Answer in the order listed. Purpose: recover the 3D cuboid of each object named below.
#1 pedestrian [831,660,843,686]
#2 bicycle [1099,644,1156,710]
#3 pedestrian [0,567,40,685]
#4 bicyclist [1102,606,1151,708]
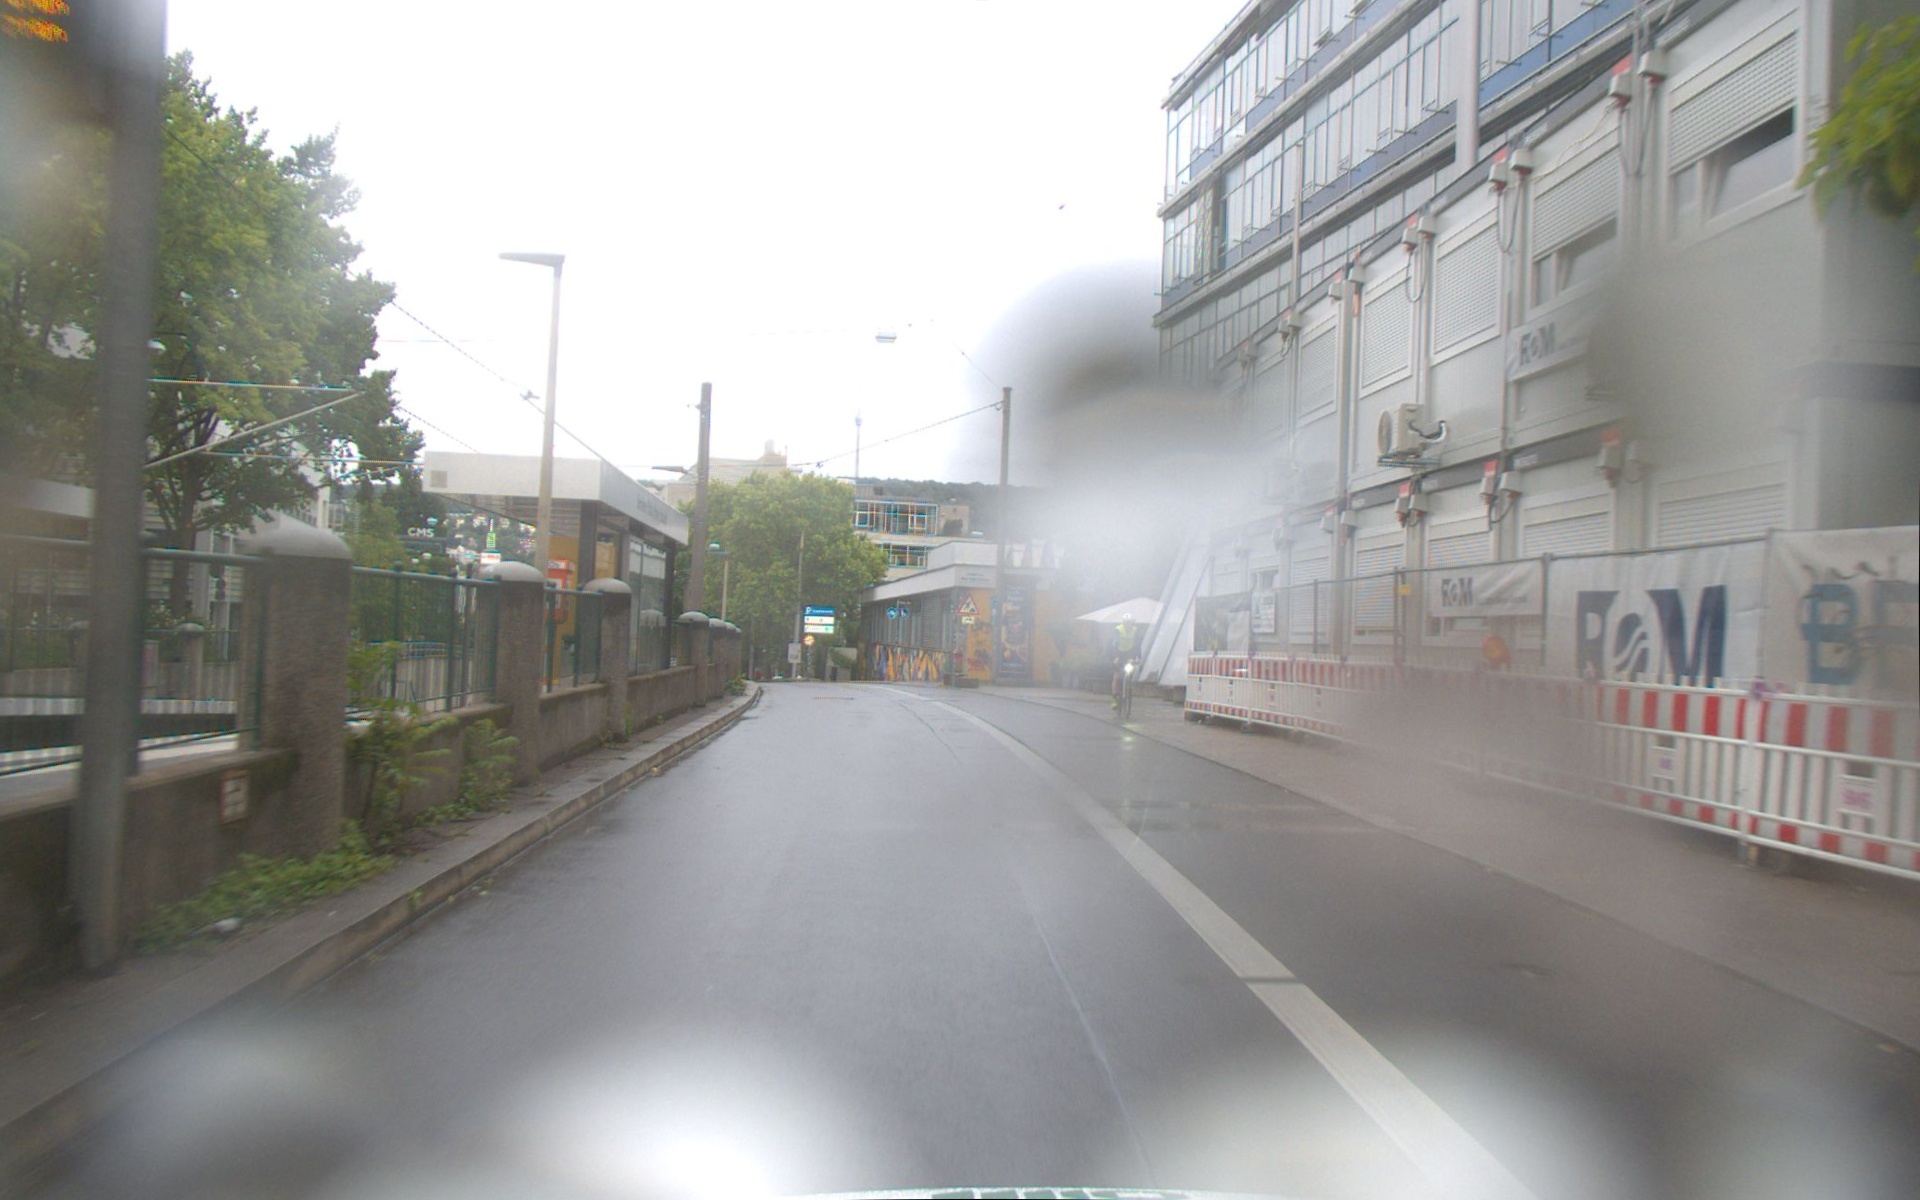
[{"bbox_3d":[-9.222,5.477,124.091,0.792,1.897,1.053,0,-3,-11],"label":"pedestrian"},{"bbox_3d":[2.819,1.294,27.958,0.648,1.071,2.055,1,-2,-3],"label":"bicycle"},{"bbox_3d":[-14.027,0.394,24.074,0.663,1.677,0.895,-4,-1,1],"label":"pedestrian"},{"bbox_3d":[2.801,0.960,27.905,0.648,1.667,0.792,-3,-2,-3],"label":"bicyclist"}]
